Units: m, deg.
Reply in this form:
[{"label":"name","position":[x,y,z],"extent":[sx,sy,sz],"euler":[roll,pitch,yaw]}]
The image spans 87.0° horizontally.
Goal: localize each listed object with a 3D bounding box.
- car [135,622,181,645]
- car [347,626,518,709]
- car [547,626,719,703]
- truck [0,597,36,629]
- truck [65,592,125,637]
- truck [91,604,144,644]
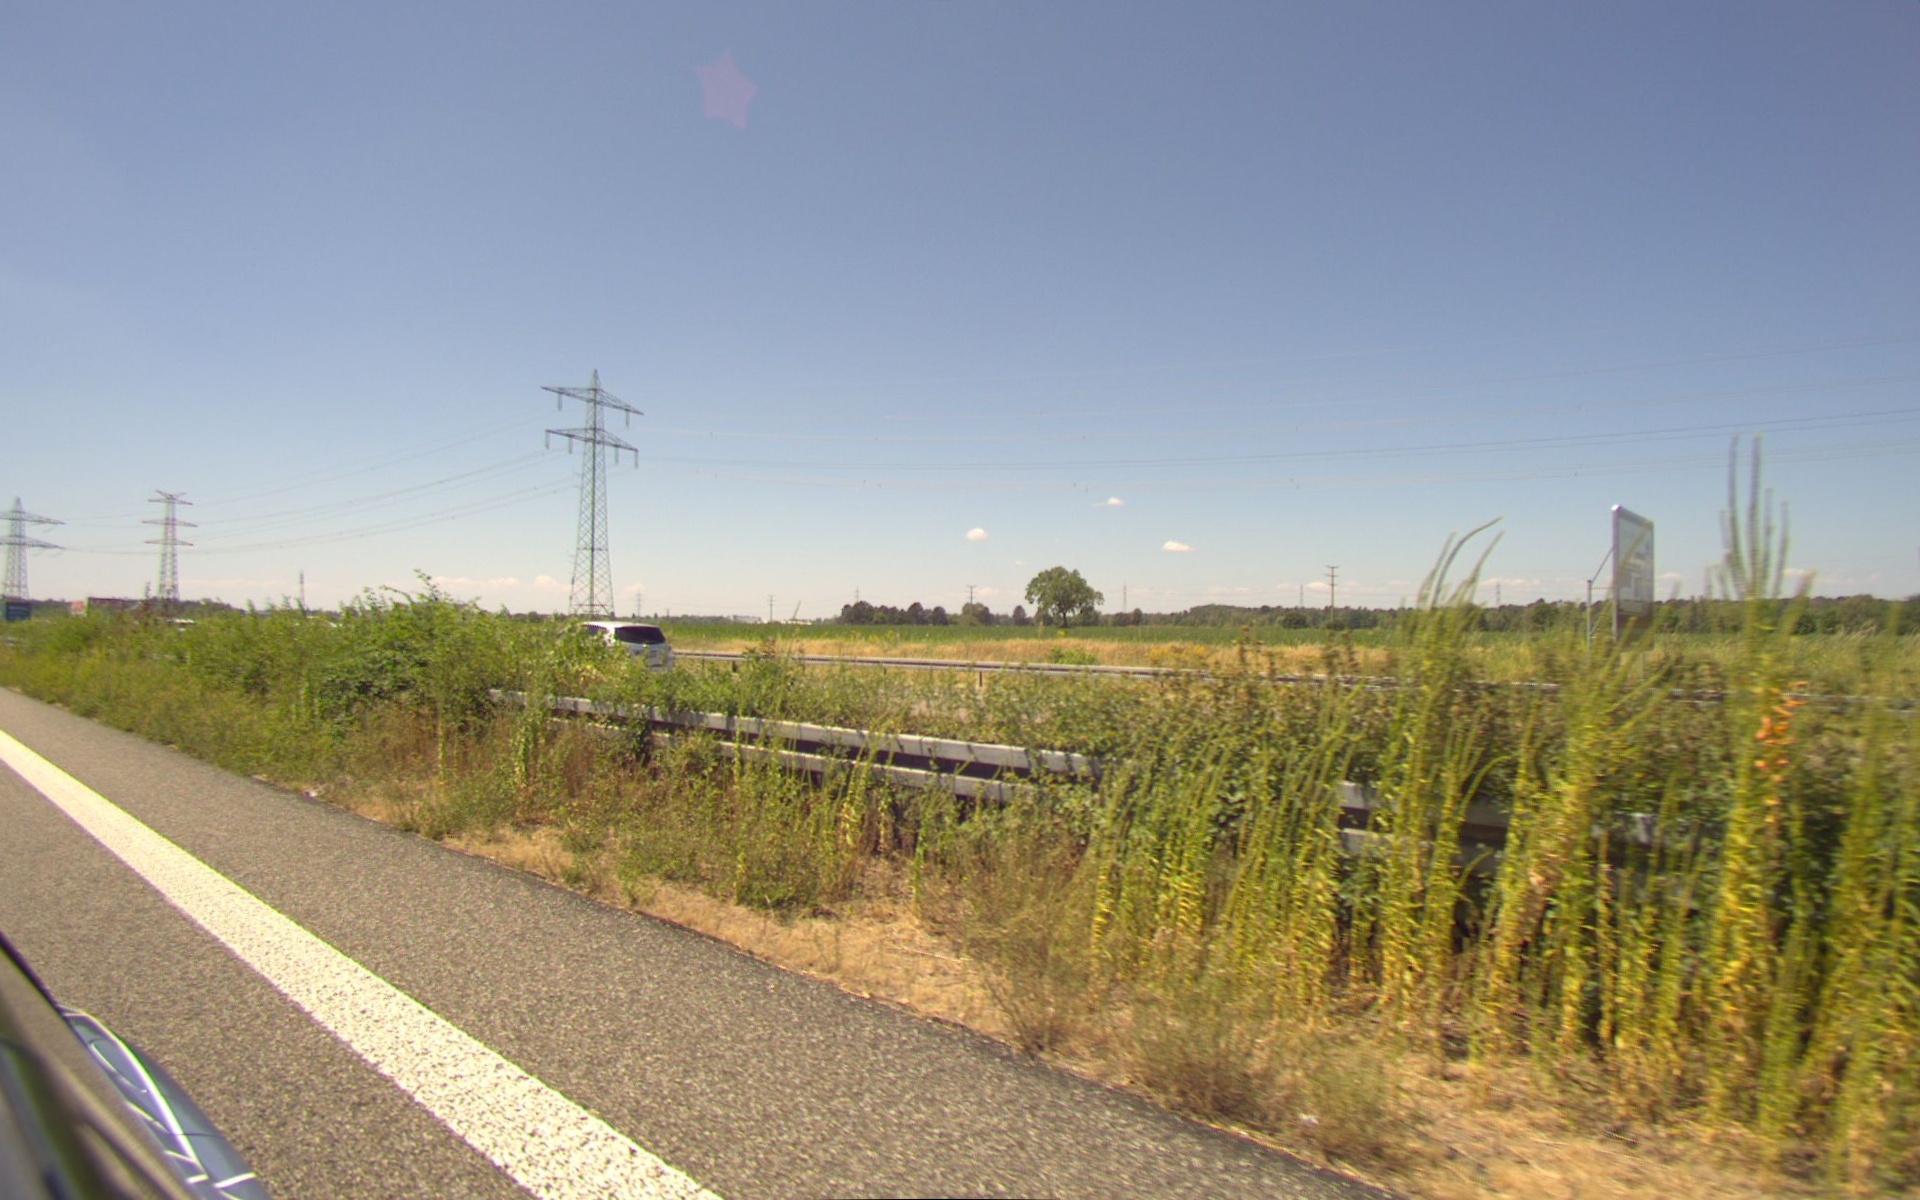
[{"label":"car","position":[-59.072,2.473,74.523],"extent":[4.556,1.667,1.842],"euler":[-1,-2,41]},{"label":"car","position":[-11.797,1.403,22.494],"extent":[4.556,1.667,1.842],"euler":[-1,-2,41]},{"label":"car","position":[-7.863,1.445,24.117],"extent":[4.556,1.667,1.842],"euler":[-1,-2,41]},{"label":"truck","position":[-124.060,1.711,132.386],"extent":[9.641,4.115,3.462],"euler":[0,-2,40]},{"label":"truck","position":[-81.420,1.369,95.206],"extent":[9.649,4.115,3.171],"euler":[-1,-2,43]},{"label":"truck","position":[-91.004,2.534,109.233],"extent":[9.649,4.115,3.171],"euler":[-1,-2,43]}]
